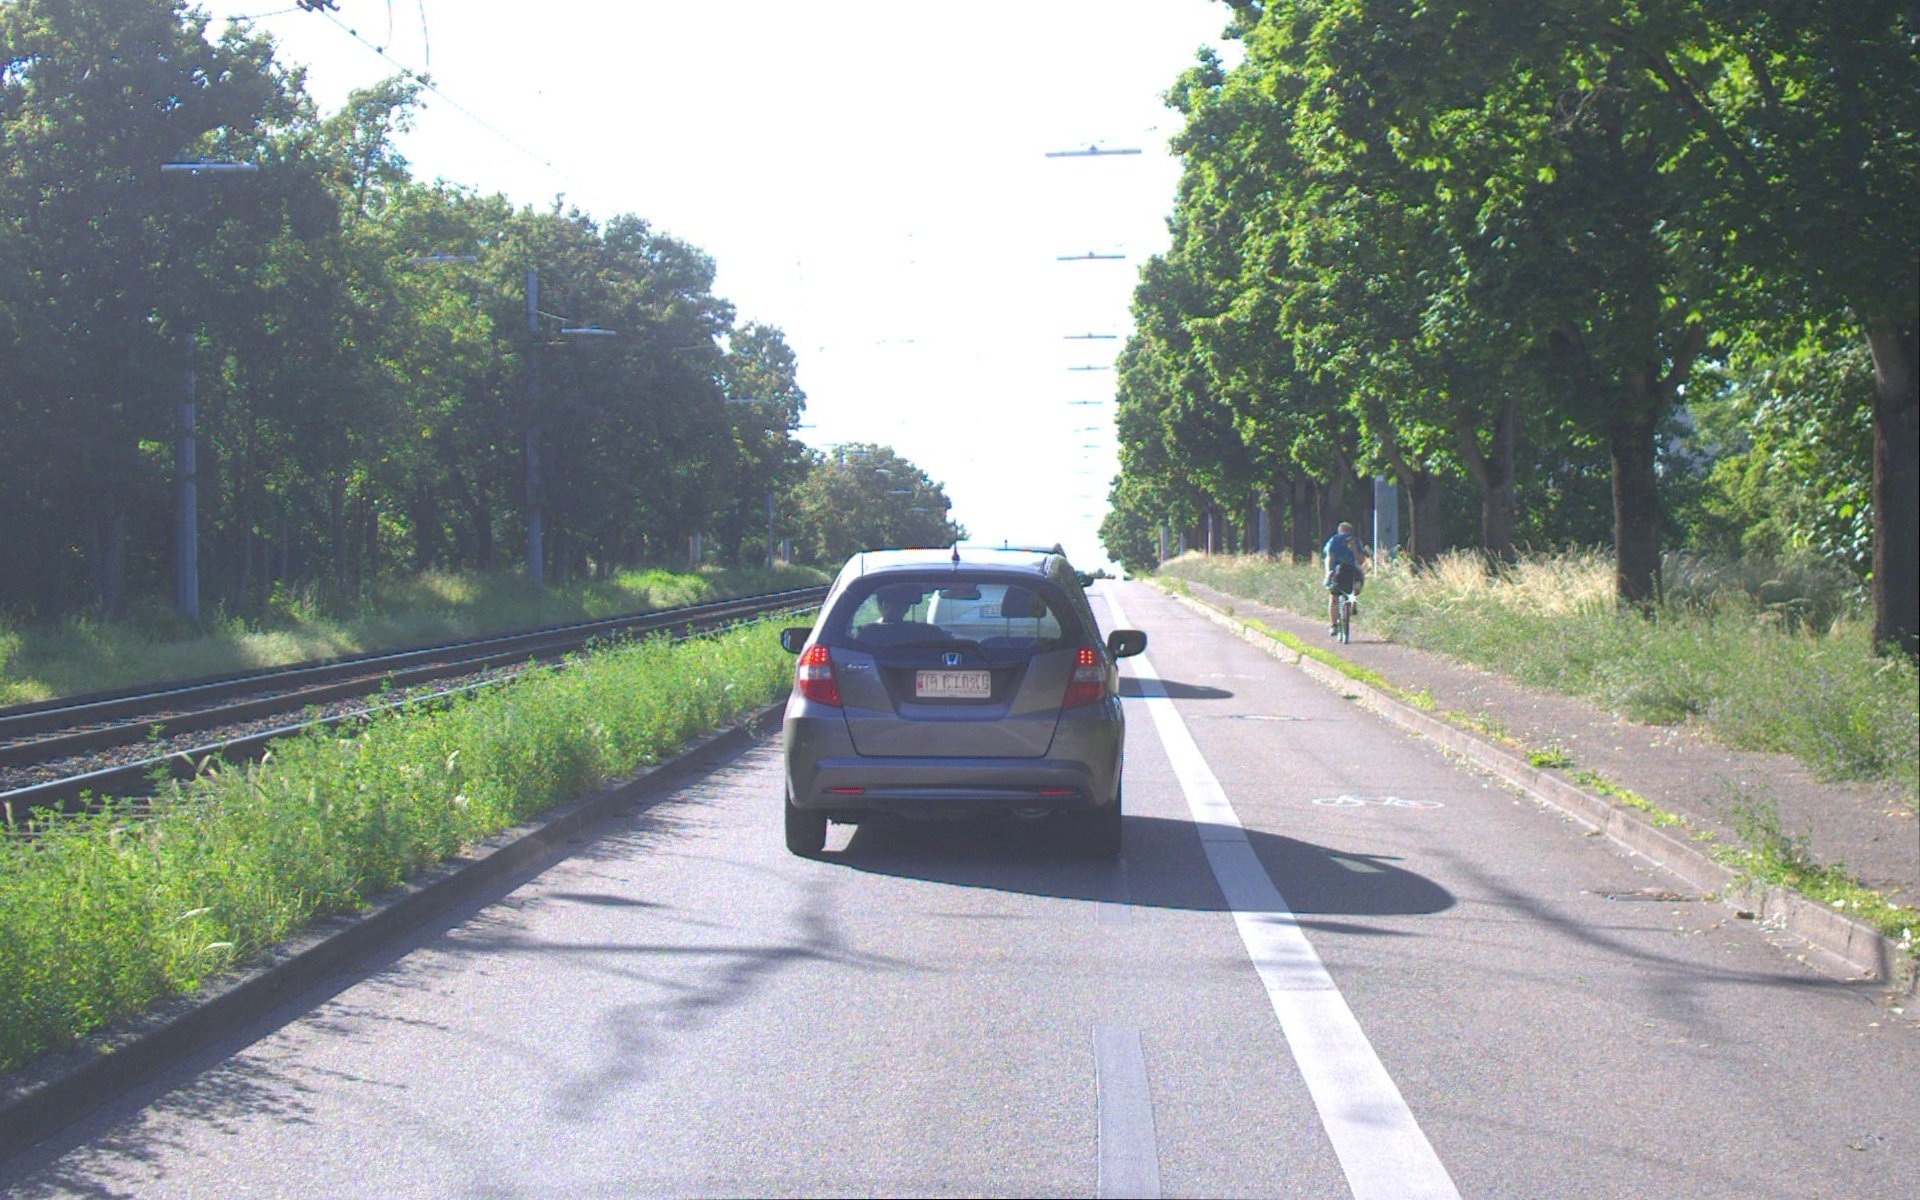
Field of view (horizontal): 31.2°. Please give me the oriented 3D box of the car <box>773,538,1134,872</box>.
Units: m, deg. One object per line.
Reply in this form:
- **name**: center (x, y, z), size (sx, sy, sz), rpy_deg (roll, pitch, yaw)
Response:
- **car**: center (0.001, 0.465, 18.111), size (1.671, 1.510, 3.674), rpy_deg (2, 1, 1)

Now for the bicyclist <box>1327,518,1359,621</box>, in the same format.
- **bicyclist**: center (5.598, -0.448, 50.230), size (0.405, 1.501, 0.574), rpy_deg (-1, 1, 2)

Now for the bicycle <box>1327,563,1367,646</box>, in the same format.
- **bicycle**: center (5.628, 0.055, 50.031), size (0.418, 1.184, 1.721), rpy_deg (0, 1, 1)

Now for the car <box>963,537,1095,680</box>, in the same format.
- **car**: center (0.802, 0.096, 38.457), size (1.351, 1.522, 3.123), rpy_deg (-1, 0, 3)
